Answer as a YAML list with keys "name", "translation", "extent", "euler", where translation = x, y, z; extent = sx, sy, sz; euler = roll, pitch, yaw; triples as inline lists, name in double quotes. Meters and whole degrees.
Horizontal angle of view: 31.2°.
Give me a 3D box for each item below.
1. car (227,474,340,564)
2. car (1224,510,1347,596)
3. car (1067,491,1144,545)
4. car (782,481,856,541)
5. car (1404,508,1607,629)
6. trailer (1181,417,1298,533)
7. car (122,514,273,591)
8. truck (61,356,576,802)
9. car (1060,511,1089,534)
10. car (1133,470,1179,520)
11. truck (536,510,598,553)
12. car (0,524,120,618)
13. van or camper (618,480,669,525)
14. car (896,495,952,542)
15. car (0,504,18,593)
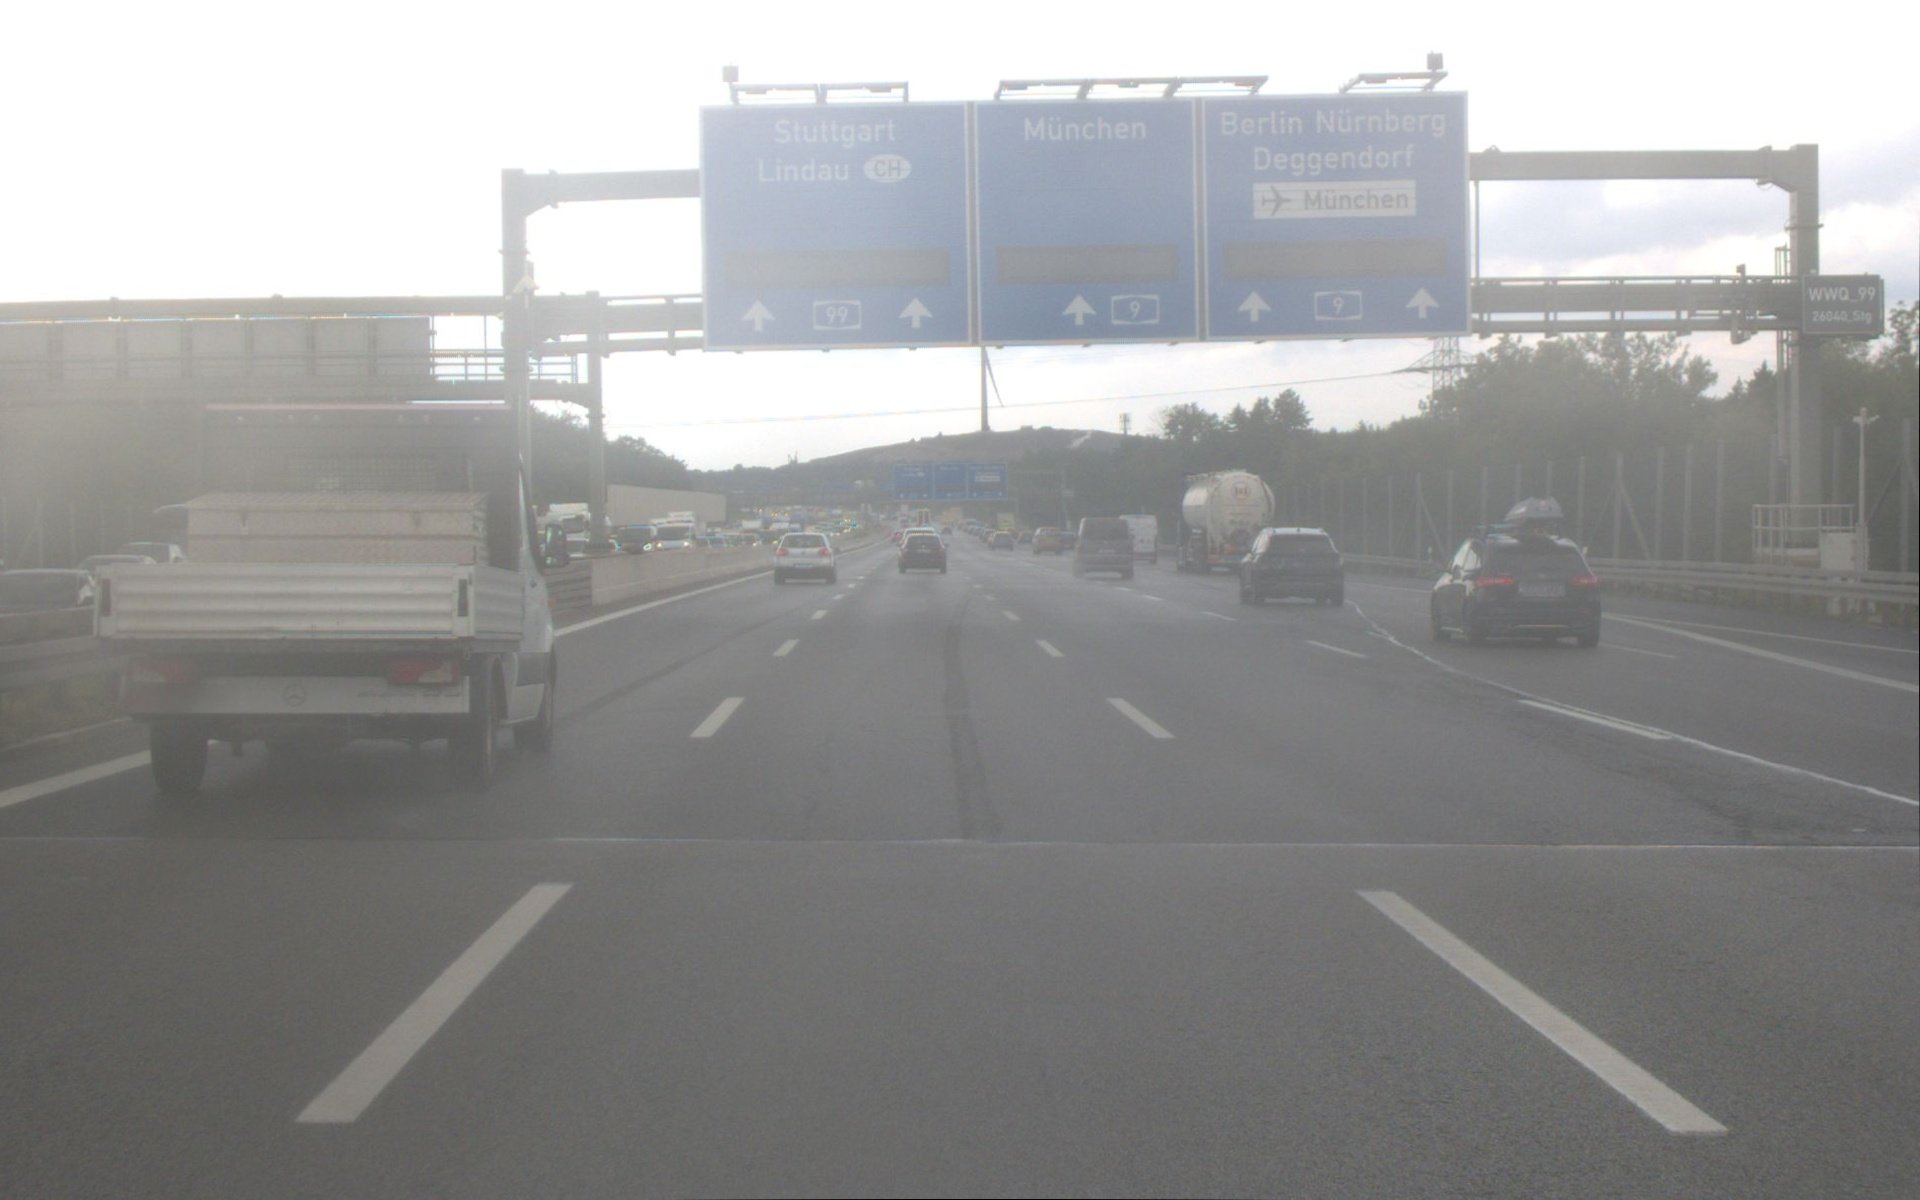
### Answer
- name: "car"
  translation: [-19.704, -2.406, 100.351]
  extent: [2.203, 2.480, 6.066]
  euler: [-1, 2, -1]
- name: "car"
  translation: [6.804, -1.012, 72.326]
  extent: [2.045, 1.693, 5.008]
  euler: [0, 2, -1]
- name: "car"
  translation: [4.760, -2.716, 113.164]
  extent: [2.097, 1.693, 4.001]
  euler: [0, 2, -4]
- name: "car"
  translation: [-4.082, -2.611, 100.246]
  extent: [2.045, 1.693, 4.001]
  euler: [0, 2, -1]
- name: "car"
  translation: [7.542, -0.468, 48.029]
  extent: [2.105, 1.600, 5.066]
  euler: [0, 1, 1]
- name: "trailer"
  translation: [10.518, -4.719, 130.566]
  extent: [3.332, 4.161, 11.839]
  euler: [0, 2, 0]
- name: "car"
  translation: [-14.624, -0.936, 66.186]
  extent: [1.889, 1.335, 4.946]
  euler: [-1, 2, -1]
- name: "truck"
  translation: [-3.891, -0.242, 22.341]
  extent: [2.352, 2.400, 7.360]
  euler: [0, 2, -3]
- name: "car"
  translation: [8.470, -5.764, 255.373]
  extent: [2.045, 1.693, 4.000]
  euler: [0, 2, 0]
- name: "car"
  translation: [9.908, -5.316, 173.802]
  extent: [2.045, 2.489, 4.001]
  euler: [0, 2, -1]
- name: "truck"
  translation: [-16.068, -2.821, 140.764]
  extent: [1.993, 1.733, 4.671]
  euler: [0, 2, 0]
- name: "car"
  translation: [-14.085, -0.462, 52.196]
  extent: [1.703, 1.284, 4.188]
  euler: [-1, 2, -1]
- name: "van or camper"
  translation: [-15.395, -4.760, 167.286]
  extent: [2.095, 2.178, 4.972]
  euler: [0, 2, -1]
- name: "car"
  translation: [-1.340, -3.061, 128.236]
  extent: [2.045, 1.693, 4.001]
  euler: [0, 2, -1]
- name: "car"
  translation: [-18.153, -0.858, 60.426]
  extent: [1.882, 1.592, 5.136]
  euler: [-1, 2, -1]
